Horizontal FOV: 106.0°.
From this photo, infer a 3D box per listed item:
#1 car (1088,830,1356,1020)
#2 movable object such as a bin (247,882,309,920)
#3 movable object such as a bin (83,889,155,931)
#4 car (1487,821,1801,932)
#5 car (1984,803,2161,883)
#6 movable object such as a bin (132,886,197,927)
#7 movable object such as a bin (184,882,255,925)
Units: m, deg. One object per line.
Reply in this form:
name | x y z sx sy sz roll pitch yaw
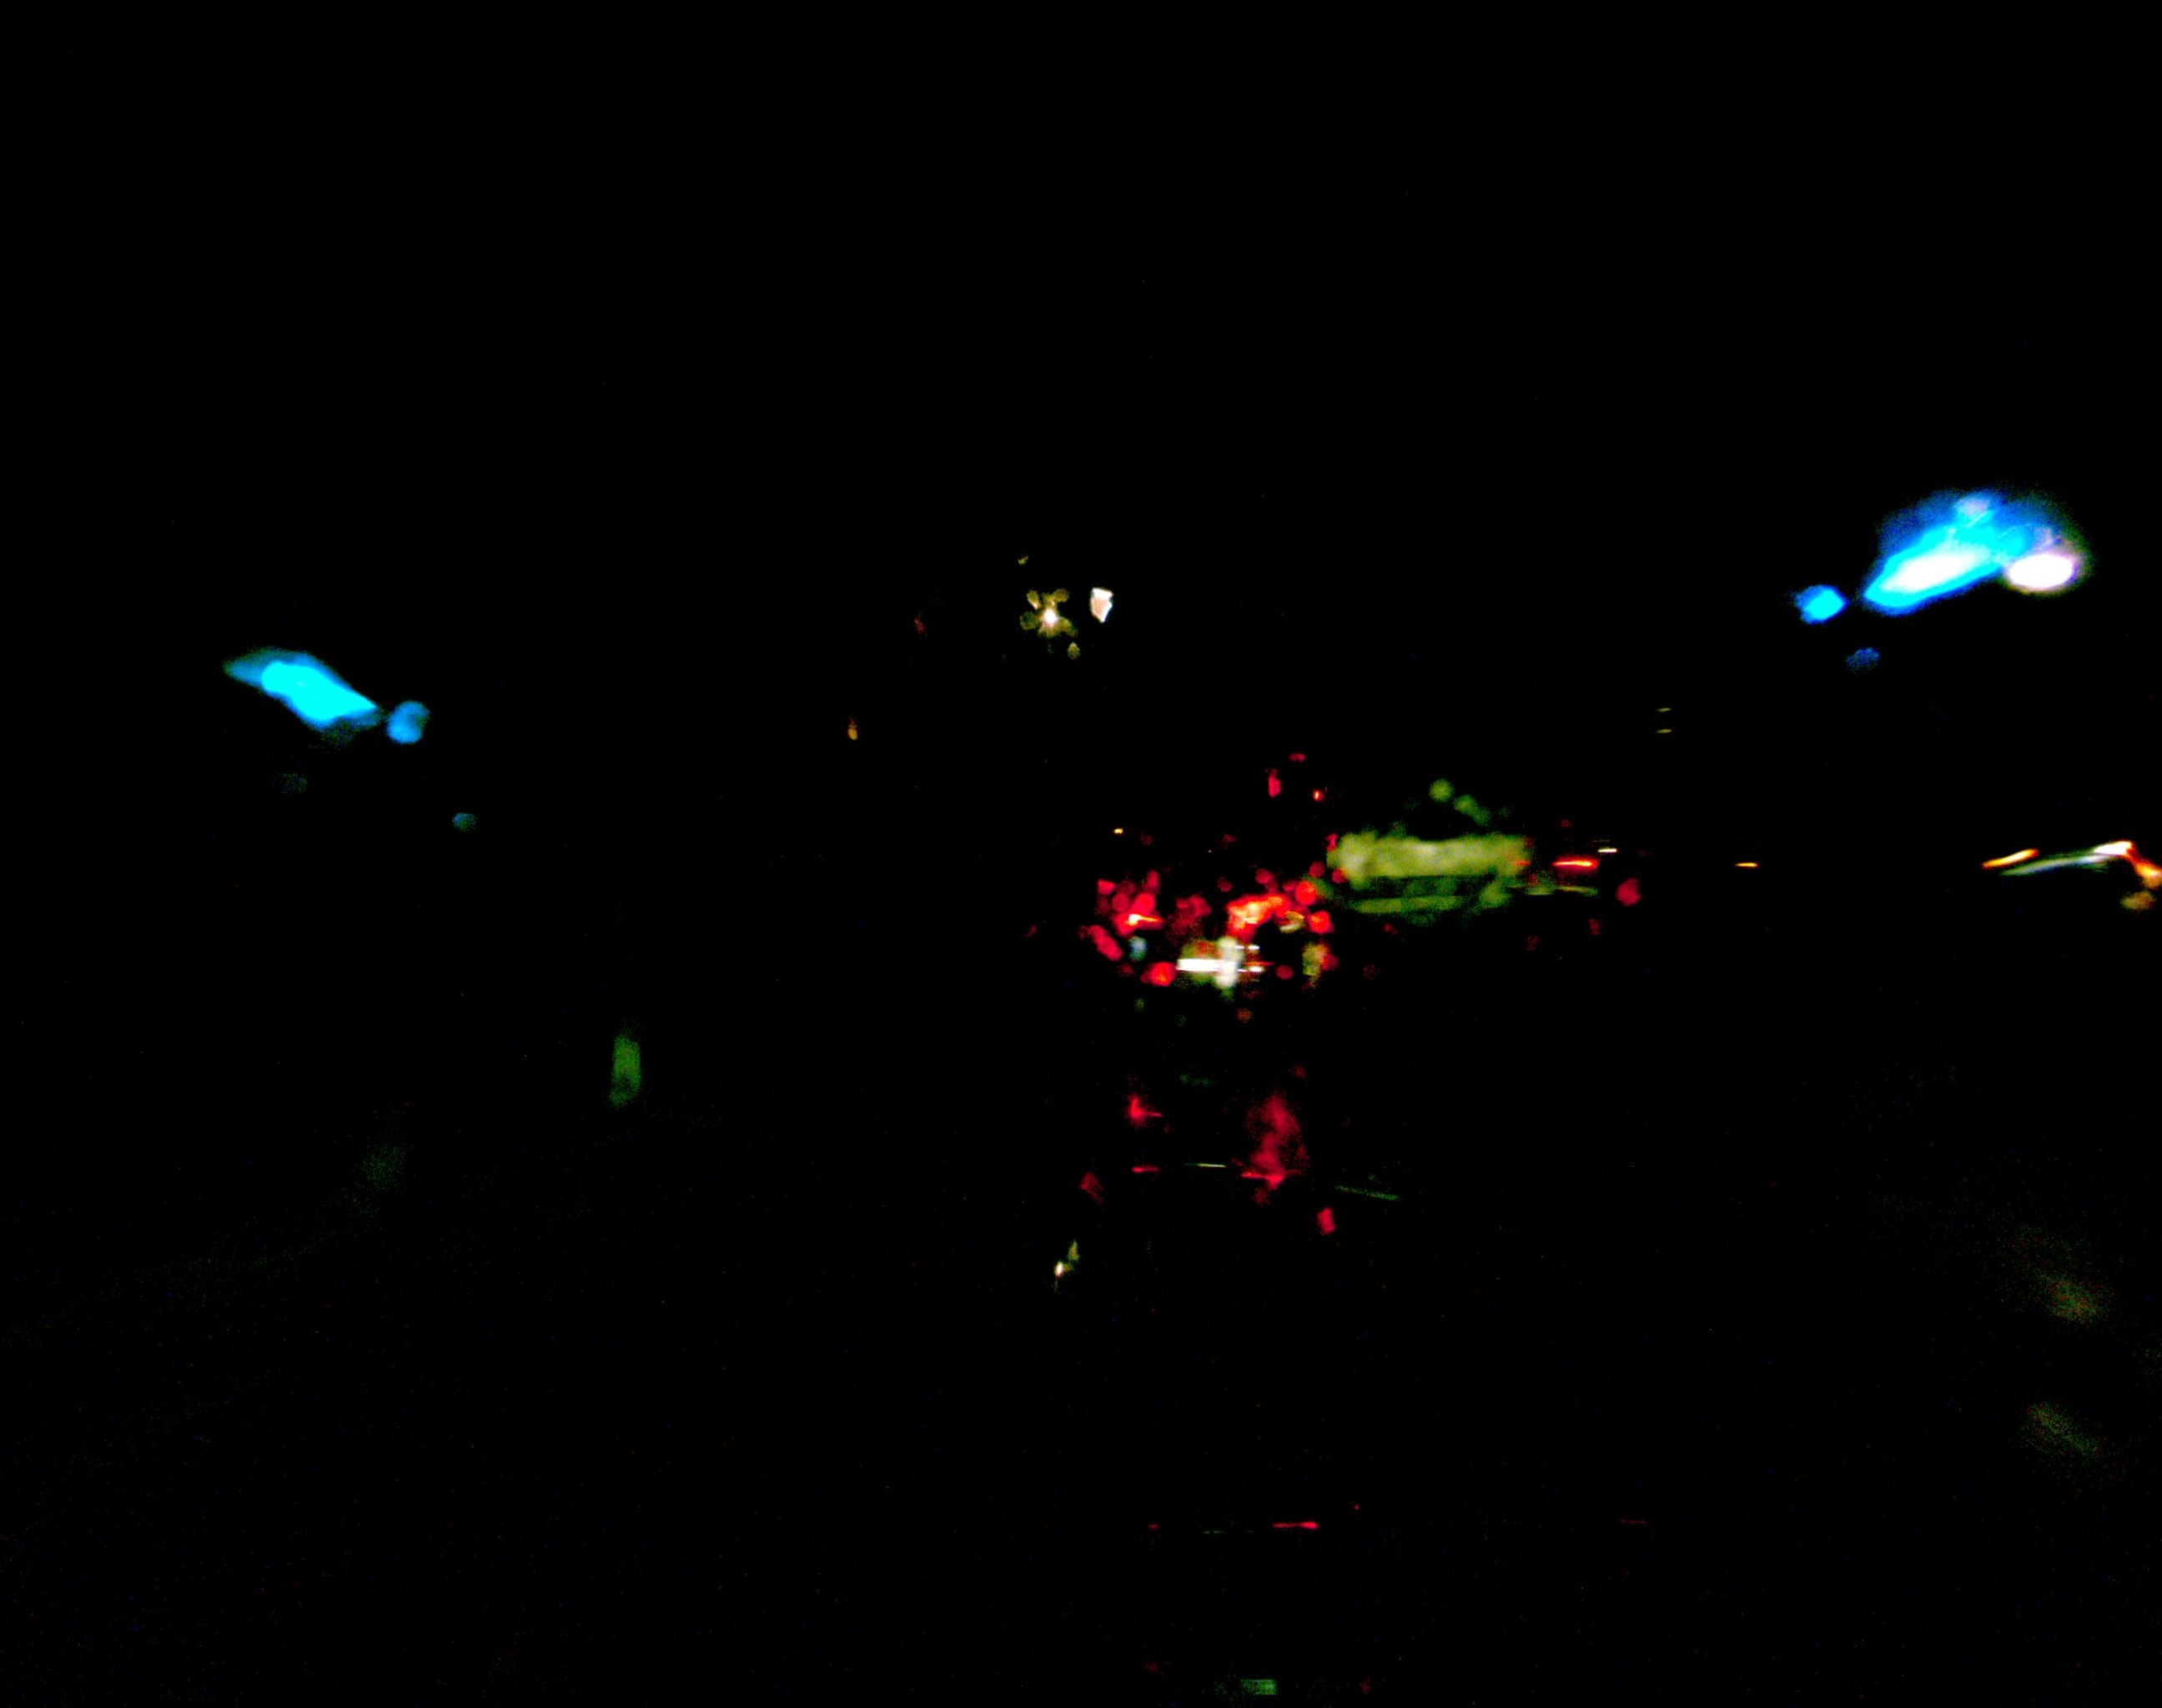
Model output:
car | 1.900 0.665 9.597 2.039 1.678 4.162 1 -1 25
movable object such as a bin | -29.862 1.717 30.315 1.321 1.299 1.240 -1 0 -27
movable object such as a bin | -33.729 1.948 28.581 1.328 1.309 1.164 -1 1 -34
car | 9.346 0.326 13.668 4.228 1.510 1.909 -3 0 -11
car | 21.373 -0.176 16.357 4.174 1.517 1.982 1 -1 3
movable object such as a bin | -32.498 1.846 28.893 1.237 1.325 1.142 -1 0 -32
movable object such as a bin | -31.217 1.776 29.555 1.394 1.413 1.240 -2 0 -27
